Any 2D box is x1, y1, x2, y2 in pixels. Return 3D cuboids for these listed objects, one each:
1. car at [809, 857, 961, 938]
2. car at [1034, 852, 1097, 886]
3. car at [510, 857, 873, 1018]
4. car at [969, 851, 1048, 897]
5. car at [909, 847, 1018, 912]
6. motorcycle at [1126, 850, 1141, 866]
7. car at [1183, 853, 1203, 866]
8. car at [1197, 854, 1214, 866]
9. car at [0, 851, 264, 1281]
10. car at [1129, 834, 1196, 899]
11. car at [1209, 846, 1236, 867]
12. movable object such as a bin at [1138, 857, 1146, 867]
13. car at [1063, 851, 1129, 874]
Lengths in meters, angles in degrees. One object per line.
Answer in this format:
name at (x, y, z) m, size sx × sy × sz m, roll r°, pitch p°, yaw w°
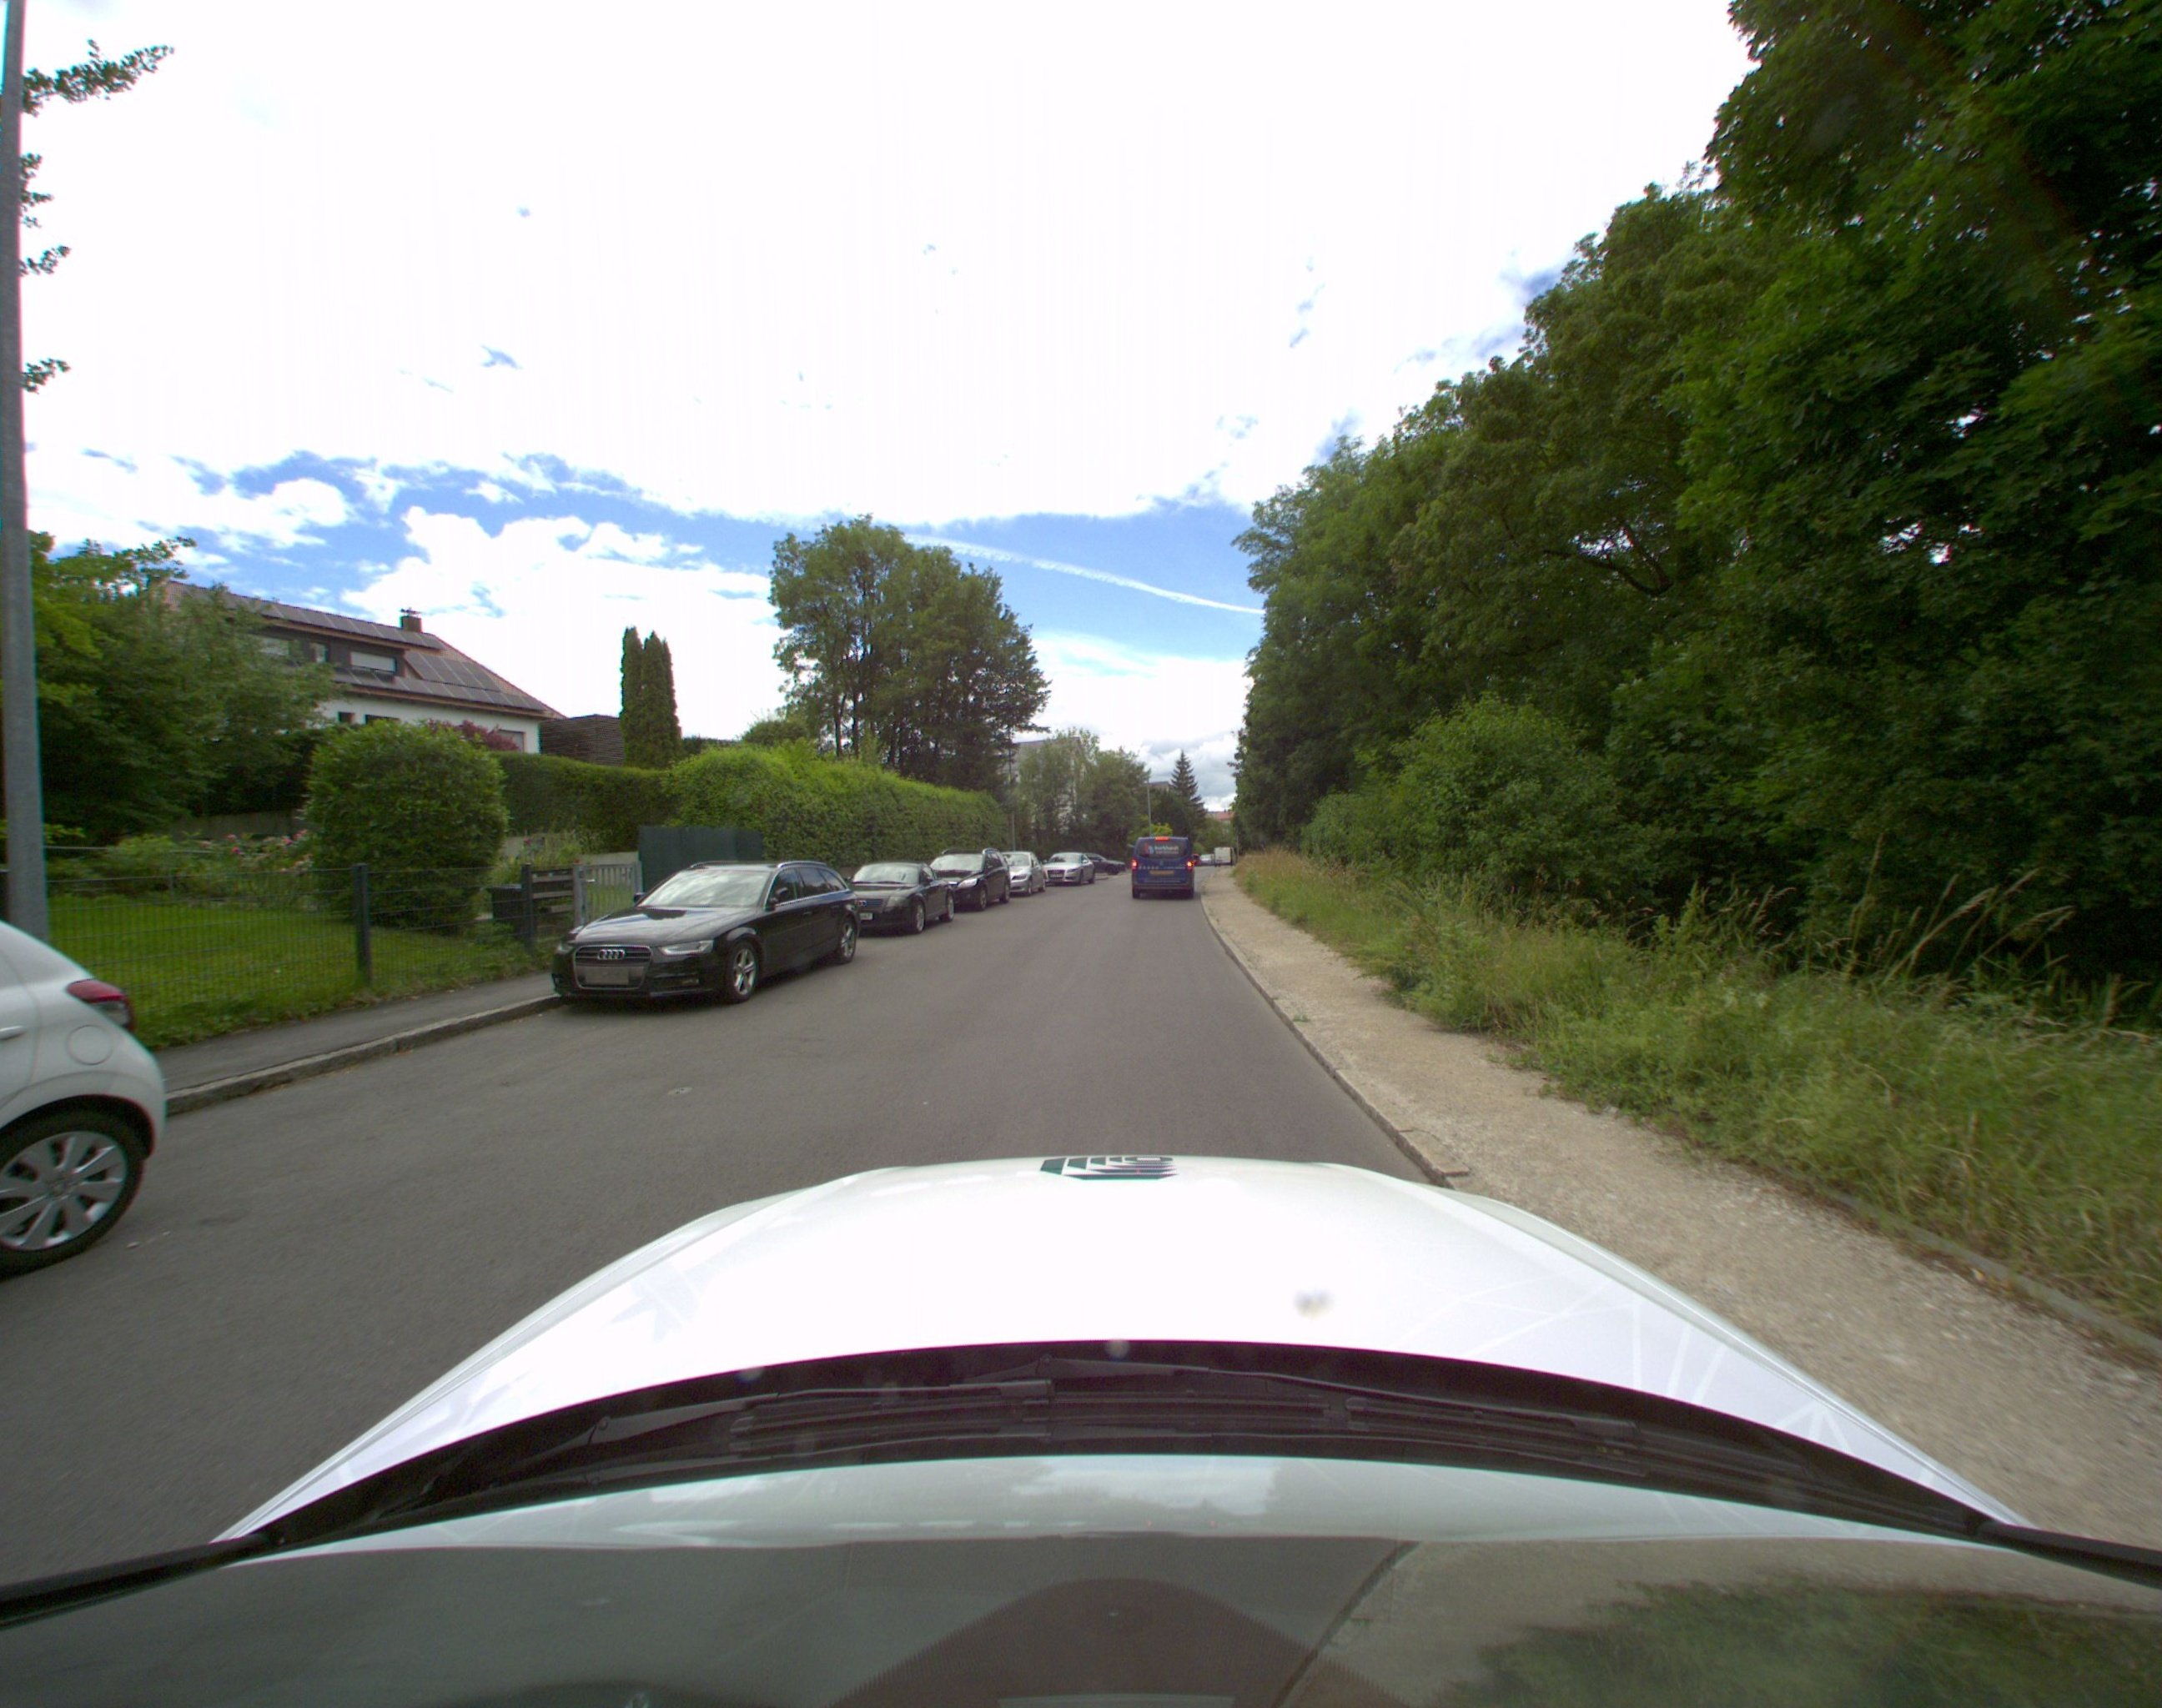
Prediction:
car at (-3.645, 0.753, 15.915) m, size 1.703 × 1.341 × 4.112 m, roll 0°, pitch 0°, yaw 4°
car at (-0.588, 0.603, 35.026) m, size 1.820 × 1.374 × 4.458 m, roll 0°, pitch 0°, yaw 11°
car at (-4.126, 0.770, 9.680) m, size 1.710 × 1.385 × 4.670 m, roll -1°, pitch 0°, yaw 5°
car at (-2.289, 0.603, 26.817) m, size 1.766 × 1.374 × 4.348 m, roll 0°, pitch 0°, yaw 6°
car at (-2.977, 0.600, 21.632) m, size 1.647 × 1.533 × 4.485 m, roll 0°, pitch 0°, yaw 8°
motorcycle at (4.959, 0.402, 76.225) m, size 0.803 × 1.485 × 2.908 m, roll -1°, pitch -1°, yaw 16°
car at (12.681, 0.634, 92.252) m, size 1.622 × 1.404 × 4.018 m, roll -1°, pitch 0°, yaw 17°
car at (15.705, 0.741, 102.436) m, size 1.736 × 1.404 × 4.016 m, roll -1°, pitch 0°, yaw 15°
car at (-4.648, 0.767, 1.985) m, size 1.582 × 1.514 × 3.592 m, roll -1°, pitch 0°, yaw 2°
car at (2.676, 0.347, 26.072) m, size 1.925 × 1.880 × 4.540 m, roll -1°, pitch 0°, yaw 8°
car at (14.633, 0.239, 84.149) m, size 2.190 × 2.063 × 6.159 m, roll -1°, pitch 0°, yaw 15°
movable object such as a bin at (5.890, 0.770, 78.172) m, size 0.586 × 0.909 × 0.704 m, roll -1°, pitch -1°, yaw 20°
car at (1.017, 0.566, 53.168) m, size 4.148 × 1.447 × 1.742 m, roll -1°, pitch -1°, yaw 4°
